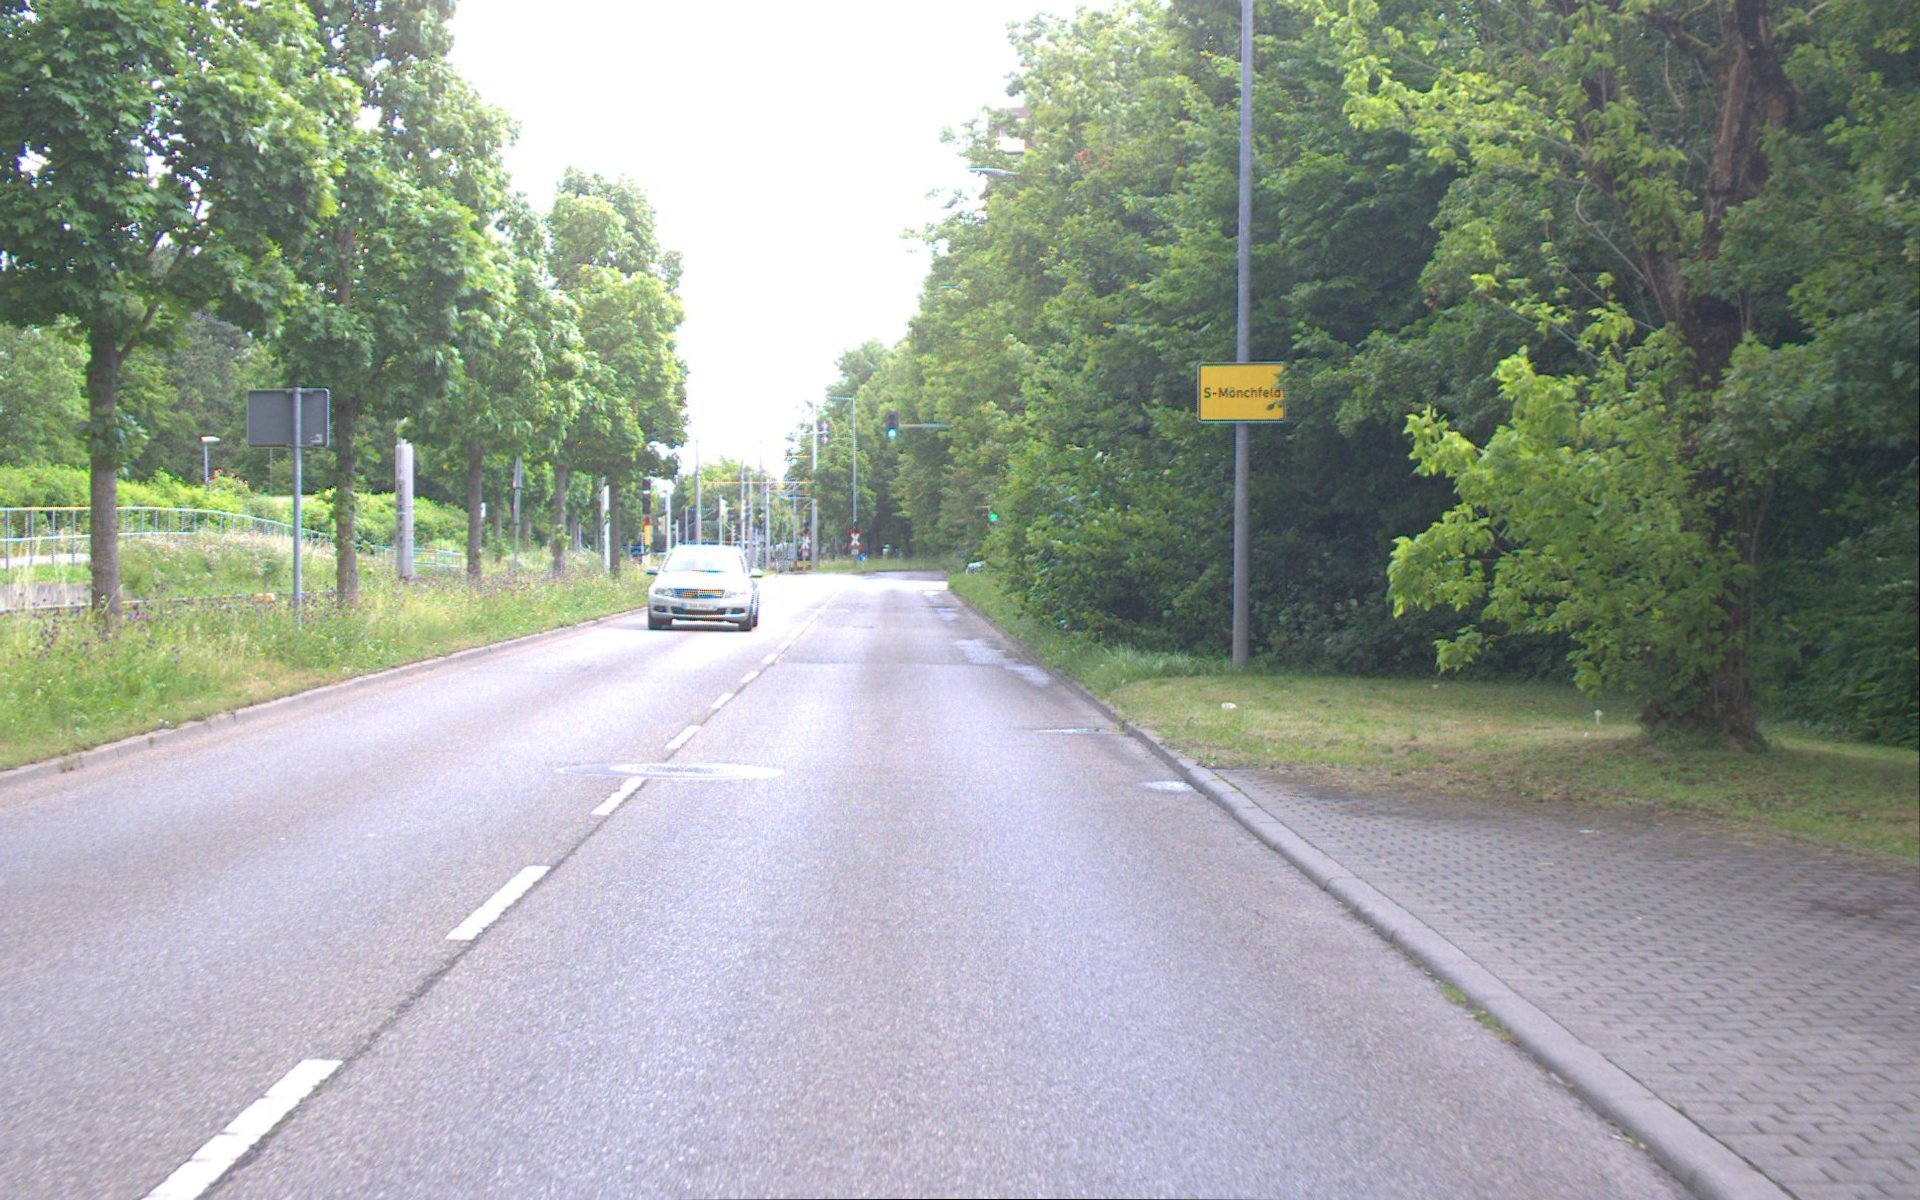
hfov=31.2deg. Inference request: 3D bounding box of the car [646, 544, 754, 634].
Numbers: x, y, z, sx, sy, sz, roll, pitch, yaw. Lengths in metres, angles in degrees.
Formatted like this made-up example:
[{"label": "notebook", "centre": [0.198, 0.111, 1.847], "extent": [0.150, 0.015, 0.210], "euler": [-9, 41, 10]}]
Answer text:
[{"label": "car", "centre": [-4.484, -0.223, 59.578], "extent": [1.774, 1.464, 4.242], "euler": [1, 1, -4]}]
